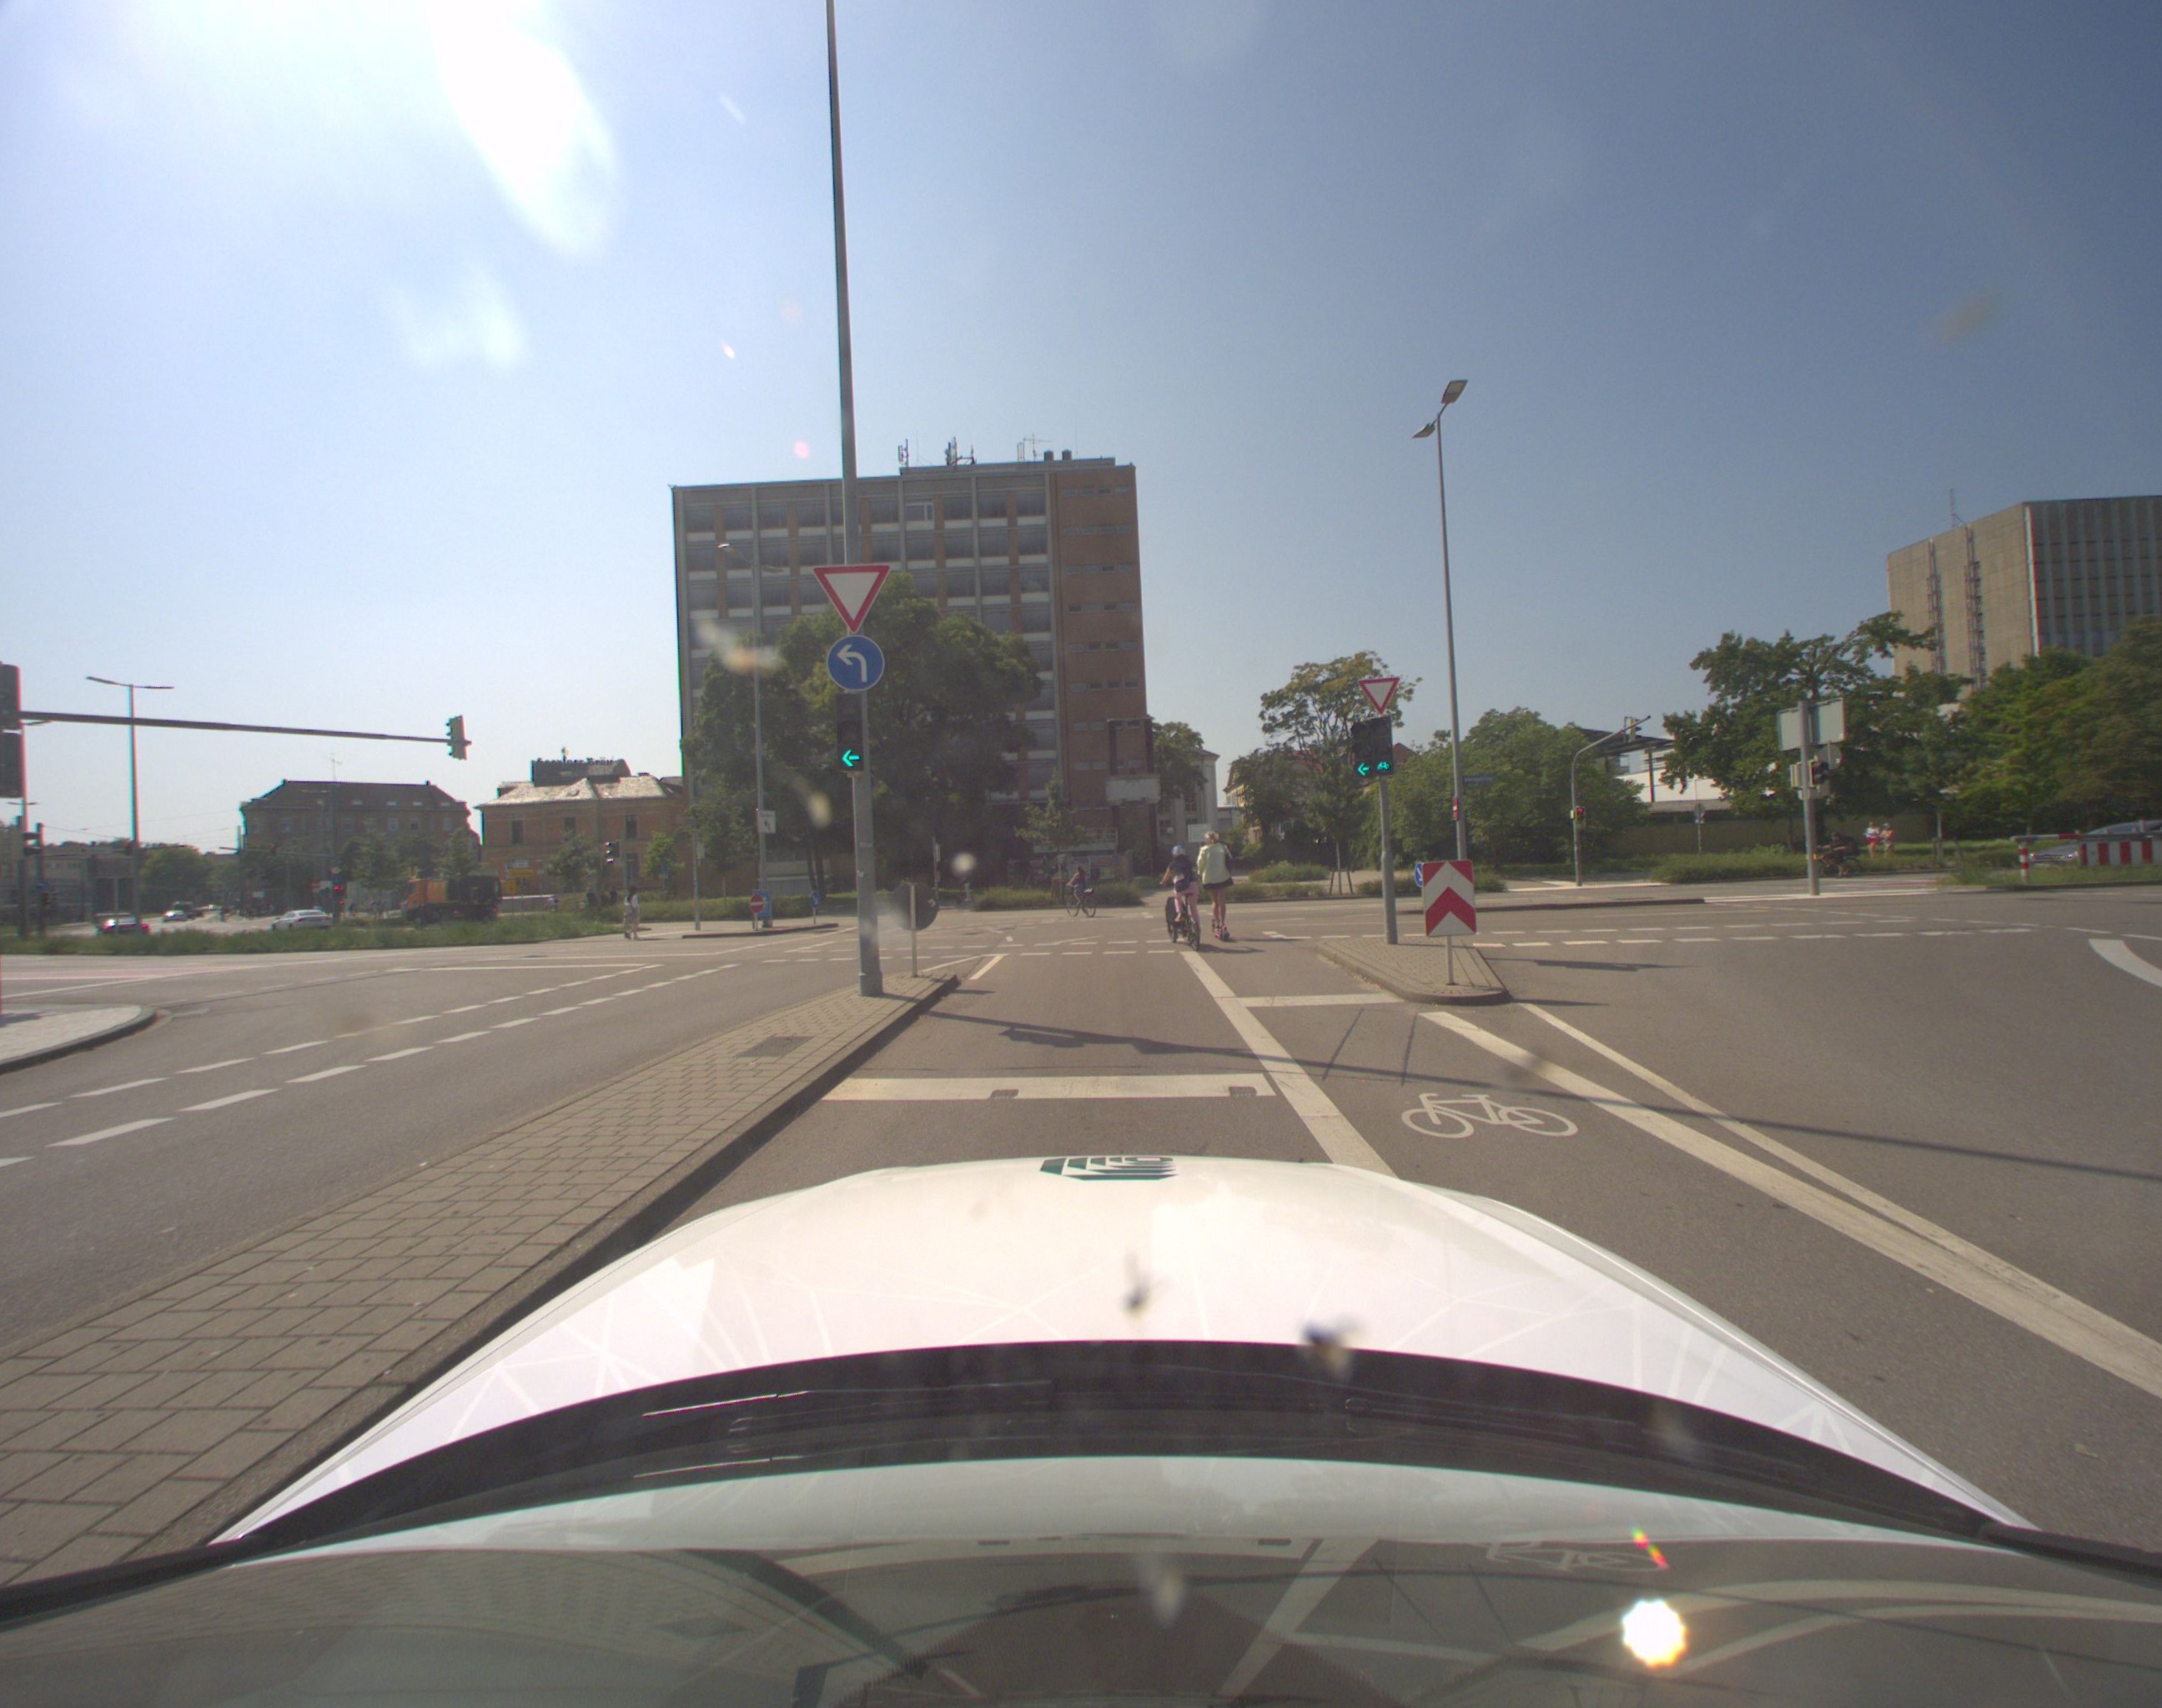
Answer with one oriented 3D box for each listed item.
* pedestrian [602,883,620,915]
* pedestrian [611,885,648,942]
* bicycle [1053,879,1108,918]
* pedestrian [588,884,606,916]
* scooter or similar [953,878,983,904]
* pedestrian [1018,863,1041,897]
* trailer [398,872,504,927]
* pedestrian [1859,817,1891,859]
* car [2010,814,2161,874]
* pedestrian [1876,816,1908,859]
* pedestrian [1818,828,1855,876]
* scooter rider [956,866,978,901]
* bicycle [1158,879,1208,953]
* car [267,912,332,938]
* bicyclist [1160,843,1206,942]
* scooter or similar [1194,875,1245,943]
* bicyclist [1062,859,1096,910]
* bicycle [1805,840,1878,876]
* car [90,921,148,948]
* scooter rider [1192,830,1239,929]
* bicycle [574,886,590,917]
[{"bbox_3d":[-30.484,2.914,52.873,0.744,1.973,0.785,-4,-1,44],"label":"pedestrian"},{"bbox_3d":[-13.999,1.849,25.247,0.600,1.695,0.704,-3,-1,19],"label":"pedestrian"},{"bbox_3d":[-0.039,1.444,26.896,0.698,1.155,2.348,-4,1,-30],"label":"bicycle"},{"bbox_3d":[-30.617,2.906,51.488,0.744,1.973,0.785,-4,-1,44],"label":"pedestrian"},{"bbox_3d":[-5.782,1.897,41.679,1.351,1.234,0.589,-3,-1,24],"label":"scooter or similar"},{"bbox_3d":[-2.677,1.341,42.471,0.869,1.704,0.711,-3,1,18],"label":"pedestrian"},{"bbox_3d":[-36.893,2.673,47.690,6.245,3.008,2.485,-3,-3,27],"label":"trailer"},{"bbox_3d":[34.084,-0.688,34.960,0.582,1.771,0.695,-3,-1,7],"label":"pedestrian"},{"bbox_3d":[26.302,-0.257,20.574,3.396,1.357,1.794,-3,-3,5],"label":"car"},{"bbox_3d":[34.080,-0.682,34.231,0.582,1.771,0.695,-3,-1,7],"label":"pedestrian"},{"bbox_3d":[27.297,-0.070,29.440,0.544,1.669,0.782,-3,-1,6],"label":"pedestrian"},{"bbox_3d":[-5.828,1.500,41.625,0.795,1.739,0.693,-3,1,23],"label":"scooter rider"},{"bbox_3d":[1.653,0.976,13.399,0.554,1.060,2.004,-4,-1,1],"label":"bicycle"},{"bbox_3d":[-48.604,4.418,50.633,4.368,1.455,1.774,-3,-2,31],"label":"car"},{"bbox_3d":[1.609,0.597,12.940,0.547,1.496,0.804,-4,-1,1],"label":"bicyclist"},{"bbox_3d":[2.400,0.929,14.318,0.554,1.060,2.004,-3,-1,1],"label":"scooter or similar"},{"bbox_3d":[-0.072,1.006,26.899,0.695,1.598,0.836,-4,1,-30],"label":"bicyclist"},{"bbox_3d":[27.446,0.142,29.420,1.774,1.212,0.788,-3,-1,6],"label":"bicycle"},{"bbox_3d":[-56.325,4.664,47.677,3.929,1.404,1.775,-3,-2,34],"label":"car"},{"bbox_3d":[2.378,0.450,14.484,0.668,1.699,0.539,-3,-1,1],"label":"scooter rider"},{"bbox_3d":[-31.114,2.955,50.760,1.345,1.860,0.459,-4,-1,42],"label":"bicycle"}]
